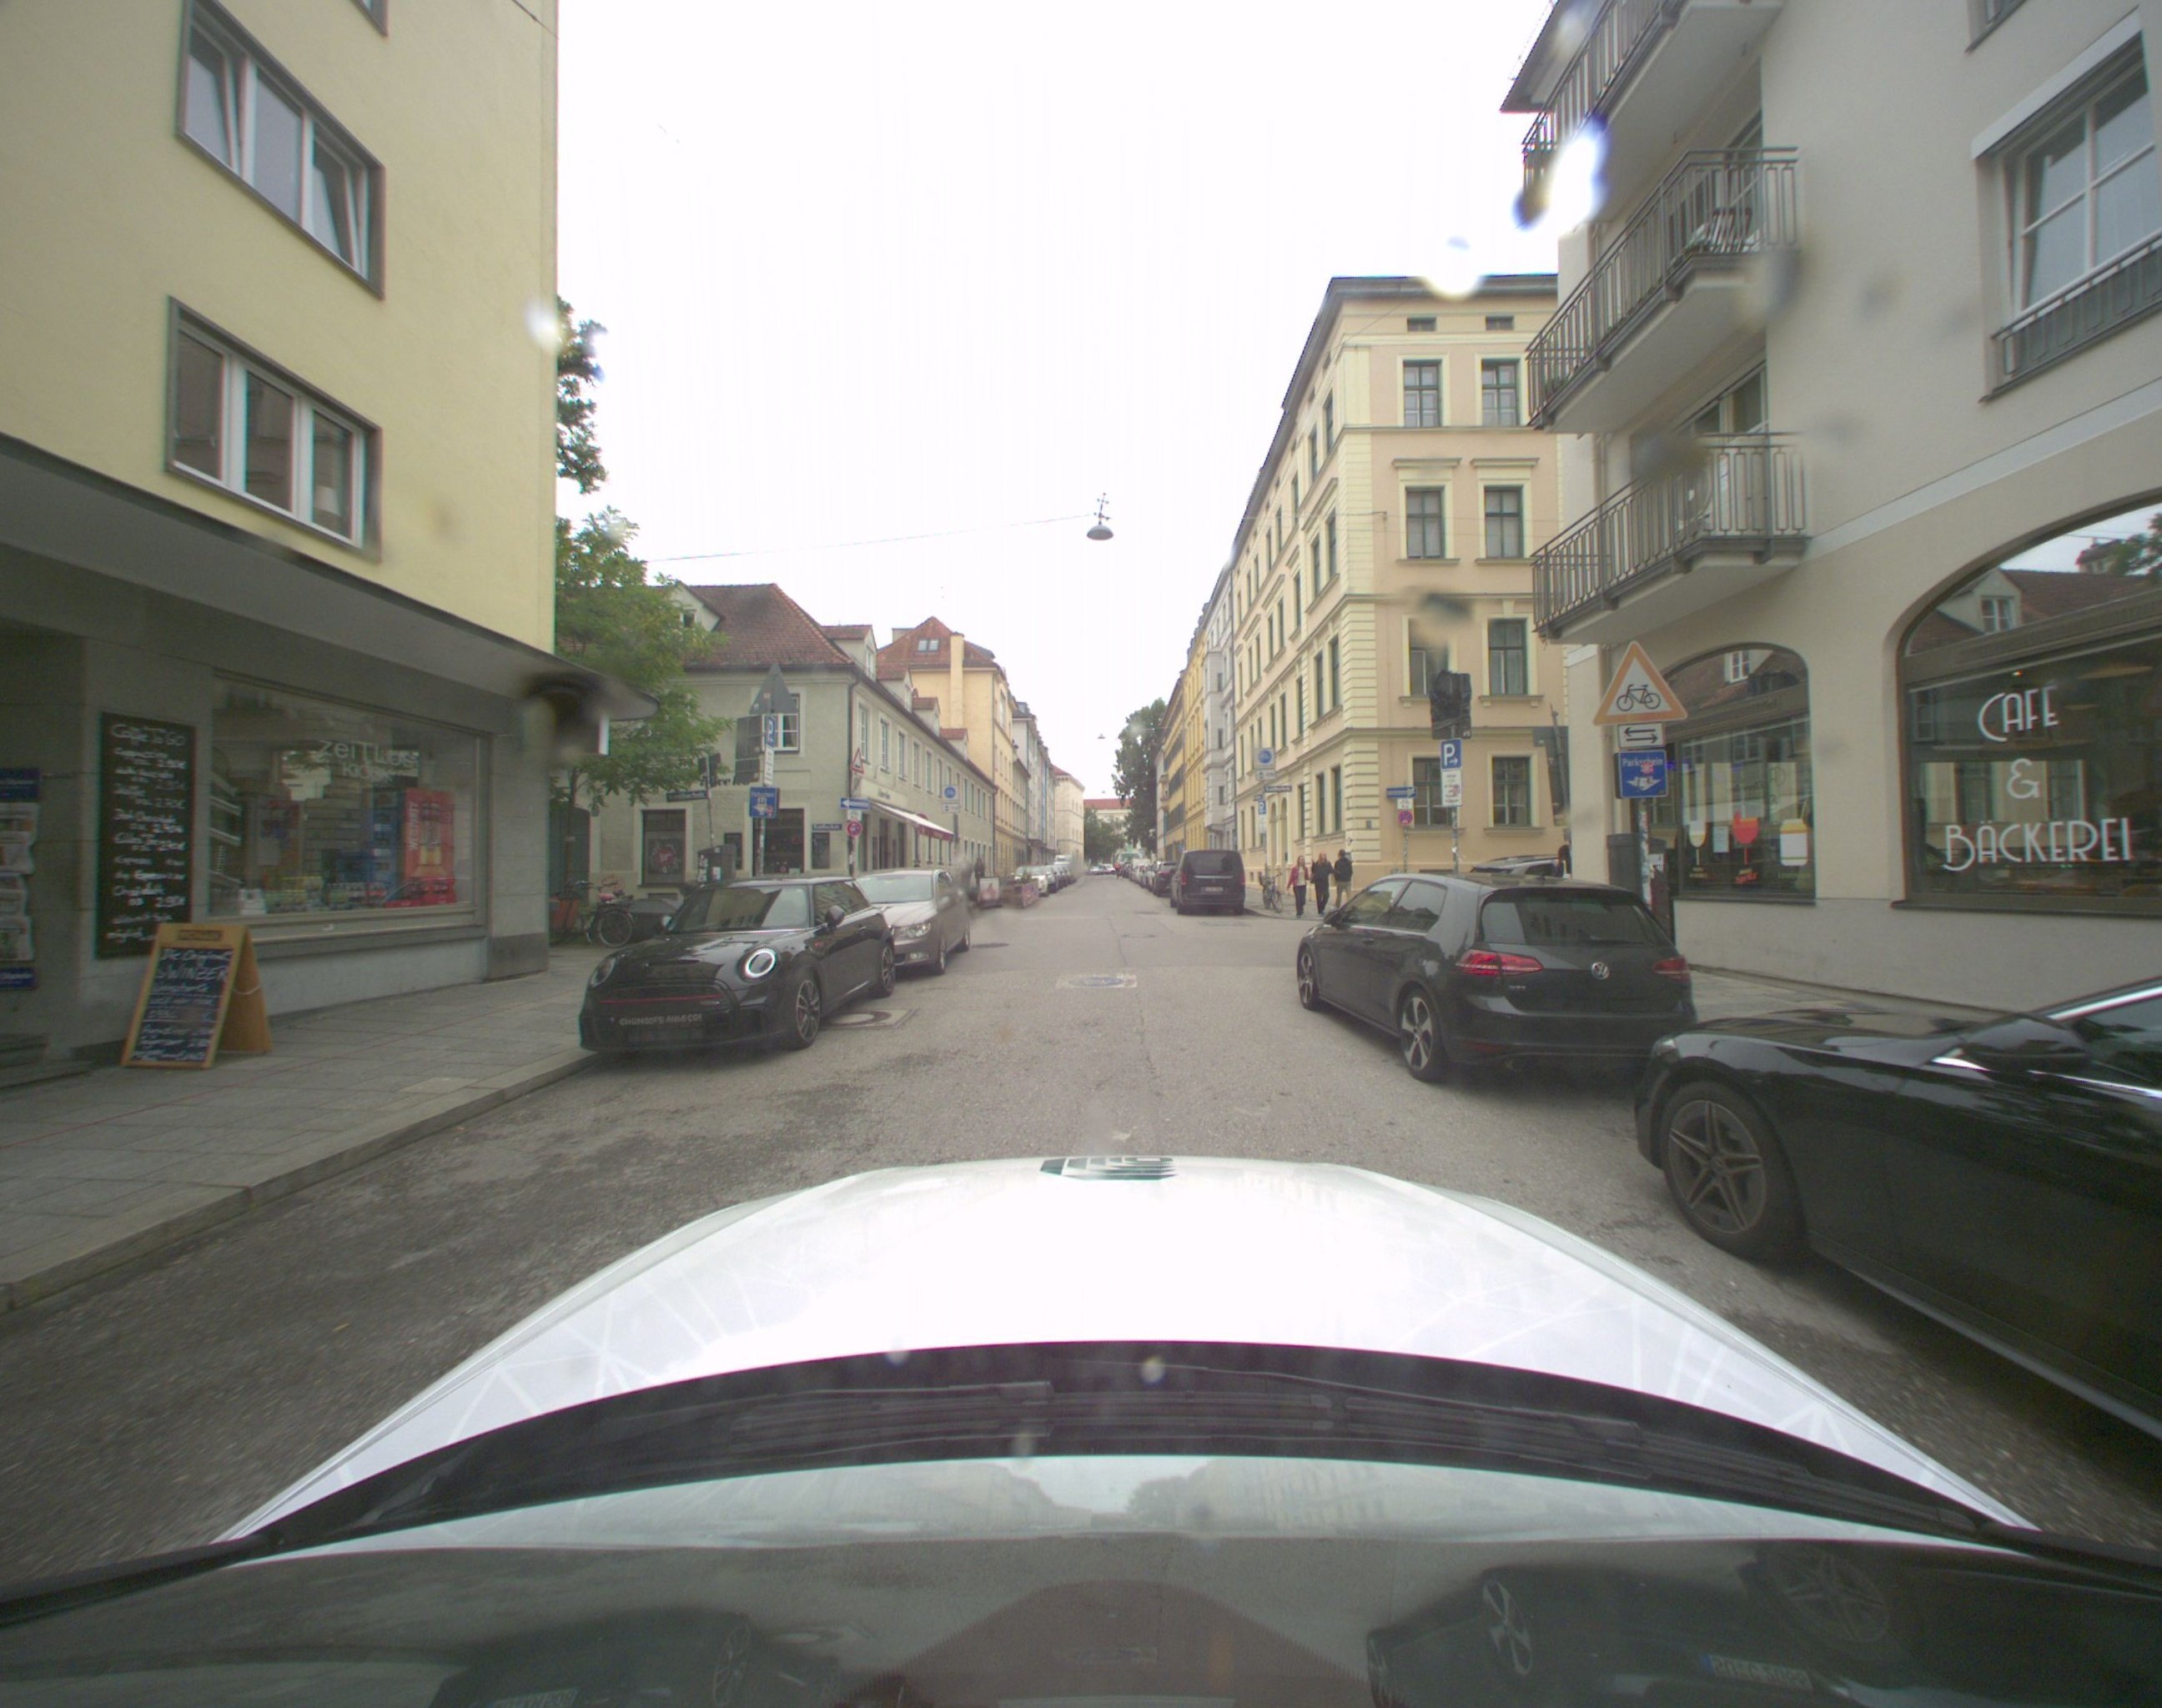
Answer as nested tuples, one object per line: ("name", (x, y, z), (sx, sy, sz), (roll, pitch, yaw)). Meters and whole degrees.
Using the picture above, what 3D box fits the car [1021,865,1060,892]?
("car", (-2.110, 1.294, 43.731), (1.792, 1.339, 4.685), (0, 0, 0))

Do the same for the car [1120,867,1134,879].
("car", (6.230, 2.578, 110.904), (1.805, 1.614, 4.157), (-1, -1, 2))

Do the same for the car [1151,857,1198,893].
("car", (4.126, 0.911, 36.384), (1.748, 1.521, 4.276), (0, -1, 2))

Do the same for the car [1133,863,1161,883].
("car", (4.861, 1.402, 60.433), (1.703, 1.454, 4.095), (0, -1, -1))

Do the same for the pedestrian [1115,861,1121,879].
("pedestrian", (3.691, 1.608, 81.521), (0.639, 1.714, 0.843), (-1, -2, 2))

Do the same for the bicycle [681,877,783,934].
("bicycle", (-6.811, 1.002, 15.917), (1.810, 1.035, 0.392), (2, 0, 4))

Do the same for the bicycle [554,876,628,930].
("bicycle", (-9.316, 0.914, 15.541), (0.378, 0.966, 1.714), (1, -2, -2))

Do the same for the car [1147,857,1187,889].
("car", (4.348, 0.969, 41.895), (1.736, 1.583, 4.468), (0, -1, 2))

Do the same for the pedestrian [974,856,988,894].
("pedestrian", (-4.751, 1.016, 38.740), (0.526, 1.782, 0.877), (-1, -2, 2))

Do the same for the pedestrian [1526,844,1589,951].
("pedestrian", (7.483, 0.678, 12.806), (0.633, 1.647, 0.525), (0, -3, -7))

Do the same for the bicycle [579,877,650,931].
("bicycle", (-8.900, 0.943, 15.597), (0.378, 0.966, 1.714), (1, -2, -2))

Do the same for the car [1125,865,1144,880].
("car", (5.543, 1.897, 84.721), (1.805, 1.465, 4.247), (1, -1, 1))

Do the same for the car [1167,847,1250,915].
("car", (3.789, 0.774, 25.102), (1.989, 1.864, 5.256), (0, -1, 3))

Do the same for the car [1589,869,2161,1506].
("car", (3.306, 0.801, 1.729), (1.640, 1.425, 4.509), (2, 0, 0))

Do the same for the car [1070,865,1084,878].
("car", (-0.471, 2.261, 103.777), (1.701, 1.609, 3.863), (-1, -1, 1))

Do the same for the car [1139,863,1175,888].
("car", (4.490, 1.277, 48.327), (1.703, 1.405, 4.205), (0, -1, -1))

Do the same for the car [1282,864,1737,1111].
("car", (3.133, 0.838, 7.051), (1.670, 1.425, 4.202), (2, 0, -1))

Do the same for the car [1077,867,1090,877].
("car", (0.422, 2.886, 131.638), (1.699, 1.609, 3.866), (-1, -1, 4))

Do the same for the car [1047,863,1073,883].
("car", (-1.523, 1.385, 59.642), (1.749, 1.409, 4.102), (0, -1, 0))

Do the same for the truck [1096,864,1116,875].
("truck", (4.973, 3.141, 163.418), (2.125, 2.247, 6.150), (0, -2, -16))

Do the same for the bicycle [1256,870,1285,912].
("bicycle", (5.424, 1.044, 23.370), (0.463, 1.052, 1.730), (-2, 1, 2))

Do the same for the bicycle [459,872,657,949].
("bicycle", (-8.852, 0.943, 13.852), (2.830, 1.212, 0.818), (1, -2, 4))

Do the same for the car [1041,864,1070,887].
("car", (-1.737, 1.417, 54.711), (1.811, 1.441, 4.128), (-1, -1, -2))

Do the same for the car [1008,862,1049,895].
("car", (-2.432, 1.135, 38.428), (1.750, 1.475, 3.711), (1, -1, -2))

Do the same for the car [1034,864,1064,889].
("car", (-1.884, 1.346, 49.477), (1.749, 1.496, 4.198), (0, -1, -1))

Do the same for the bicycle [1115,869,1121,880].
("bicycle", (3.700, 2.094, 81.492), (0.673, 1.095, 1.761), (-1, -2, 2))

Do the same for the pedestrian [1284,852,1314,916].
("pedestrian", (5.762, 0.791, 21.545), (0.470, 1.625, 1.069), (-1, -2, 1))

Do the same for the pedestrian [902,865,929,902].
("pedestrian", (-5.860, 1.037, 28.906), (0.800, 1.290, 0.693), (-1, -2, 1))

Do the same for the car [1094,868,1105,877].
("car", (3.464, 3.478, 152.360), (1.699, 1.581, 3.867), (-1, -1, 4))

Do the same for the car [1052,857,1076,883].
("car", (-1.393, 1.293, 64.613), (1.750, 1.995, 4.620), (0, -1, -3))

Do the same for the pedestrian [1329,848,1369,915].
("pedestrian", (7.105, 0.734, 21.646), (0.716, 1.717, 1.003), (-1, -2, 0))

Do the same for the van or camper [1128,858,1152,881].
("van or camper", (5.063, 1.338, 70.215), (1.827, 1.872, 5.080), (0, -1, 2))

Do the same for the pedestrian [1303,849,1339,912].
("pedestrian", (6.344, 0.714, 21.557), (0.656, 1.621, 0.979), (-1, -2, 0))

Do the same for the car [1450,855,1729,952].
("car", (9.210, 0.853, 14.991), (4.076, 1.605, 1.755), (-1, 1, -1))

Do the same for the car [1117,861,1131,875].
("car", (6.123, 2.066, 116.801), (1.844, 1.920, 4.771), (-1, -1, 2))

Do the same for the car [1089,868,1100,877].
("car", (2.442, 3.251, 146.190), (1.699, 1.581, 3.867), (-1, -1, 4))

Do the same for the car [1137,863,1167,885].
("car", (4.689, 1.335, 54.072), (1.701, 1.409, 4.816), (0, -1, 2))

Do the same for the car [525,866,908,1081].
("car", (-3.030, 0.877, 7.833), (1.672, 1.471, 4.099), (-2, -1, 2))

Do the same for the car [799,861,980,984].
("car", (-2.684, 0.882, 12.592), (1.674, 1.471, 4.947), (-2, -1, -1))

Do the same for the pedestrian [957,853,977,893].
("pedestrian", (-5.534, 0.923, 39.568), (0.820, 1.898, 0.827), (-1, -2, 0))

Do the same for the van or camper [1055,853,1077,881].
("van or camper", (-1.240, 1.140, 70.127), (1.748, 2.281, 5.273), (0, -1, 1))

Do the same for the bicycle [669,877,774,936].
("bicycle", (-6.840, 0.987, 15.513), (1.810, 1.035, 0.392), (2, 0, 4))

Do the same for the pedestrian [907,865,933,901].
("pedestrian", (-5.849, 1.067, 29.630), (0.800, 1.290, 0.693), (-1, -2, 1))
